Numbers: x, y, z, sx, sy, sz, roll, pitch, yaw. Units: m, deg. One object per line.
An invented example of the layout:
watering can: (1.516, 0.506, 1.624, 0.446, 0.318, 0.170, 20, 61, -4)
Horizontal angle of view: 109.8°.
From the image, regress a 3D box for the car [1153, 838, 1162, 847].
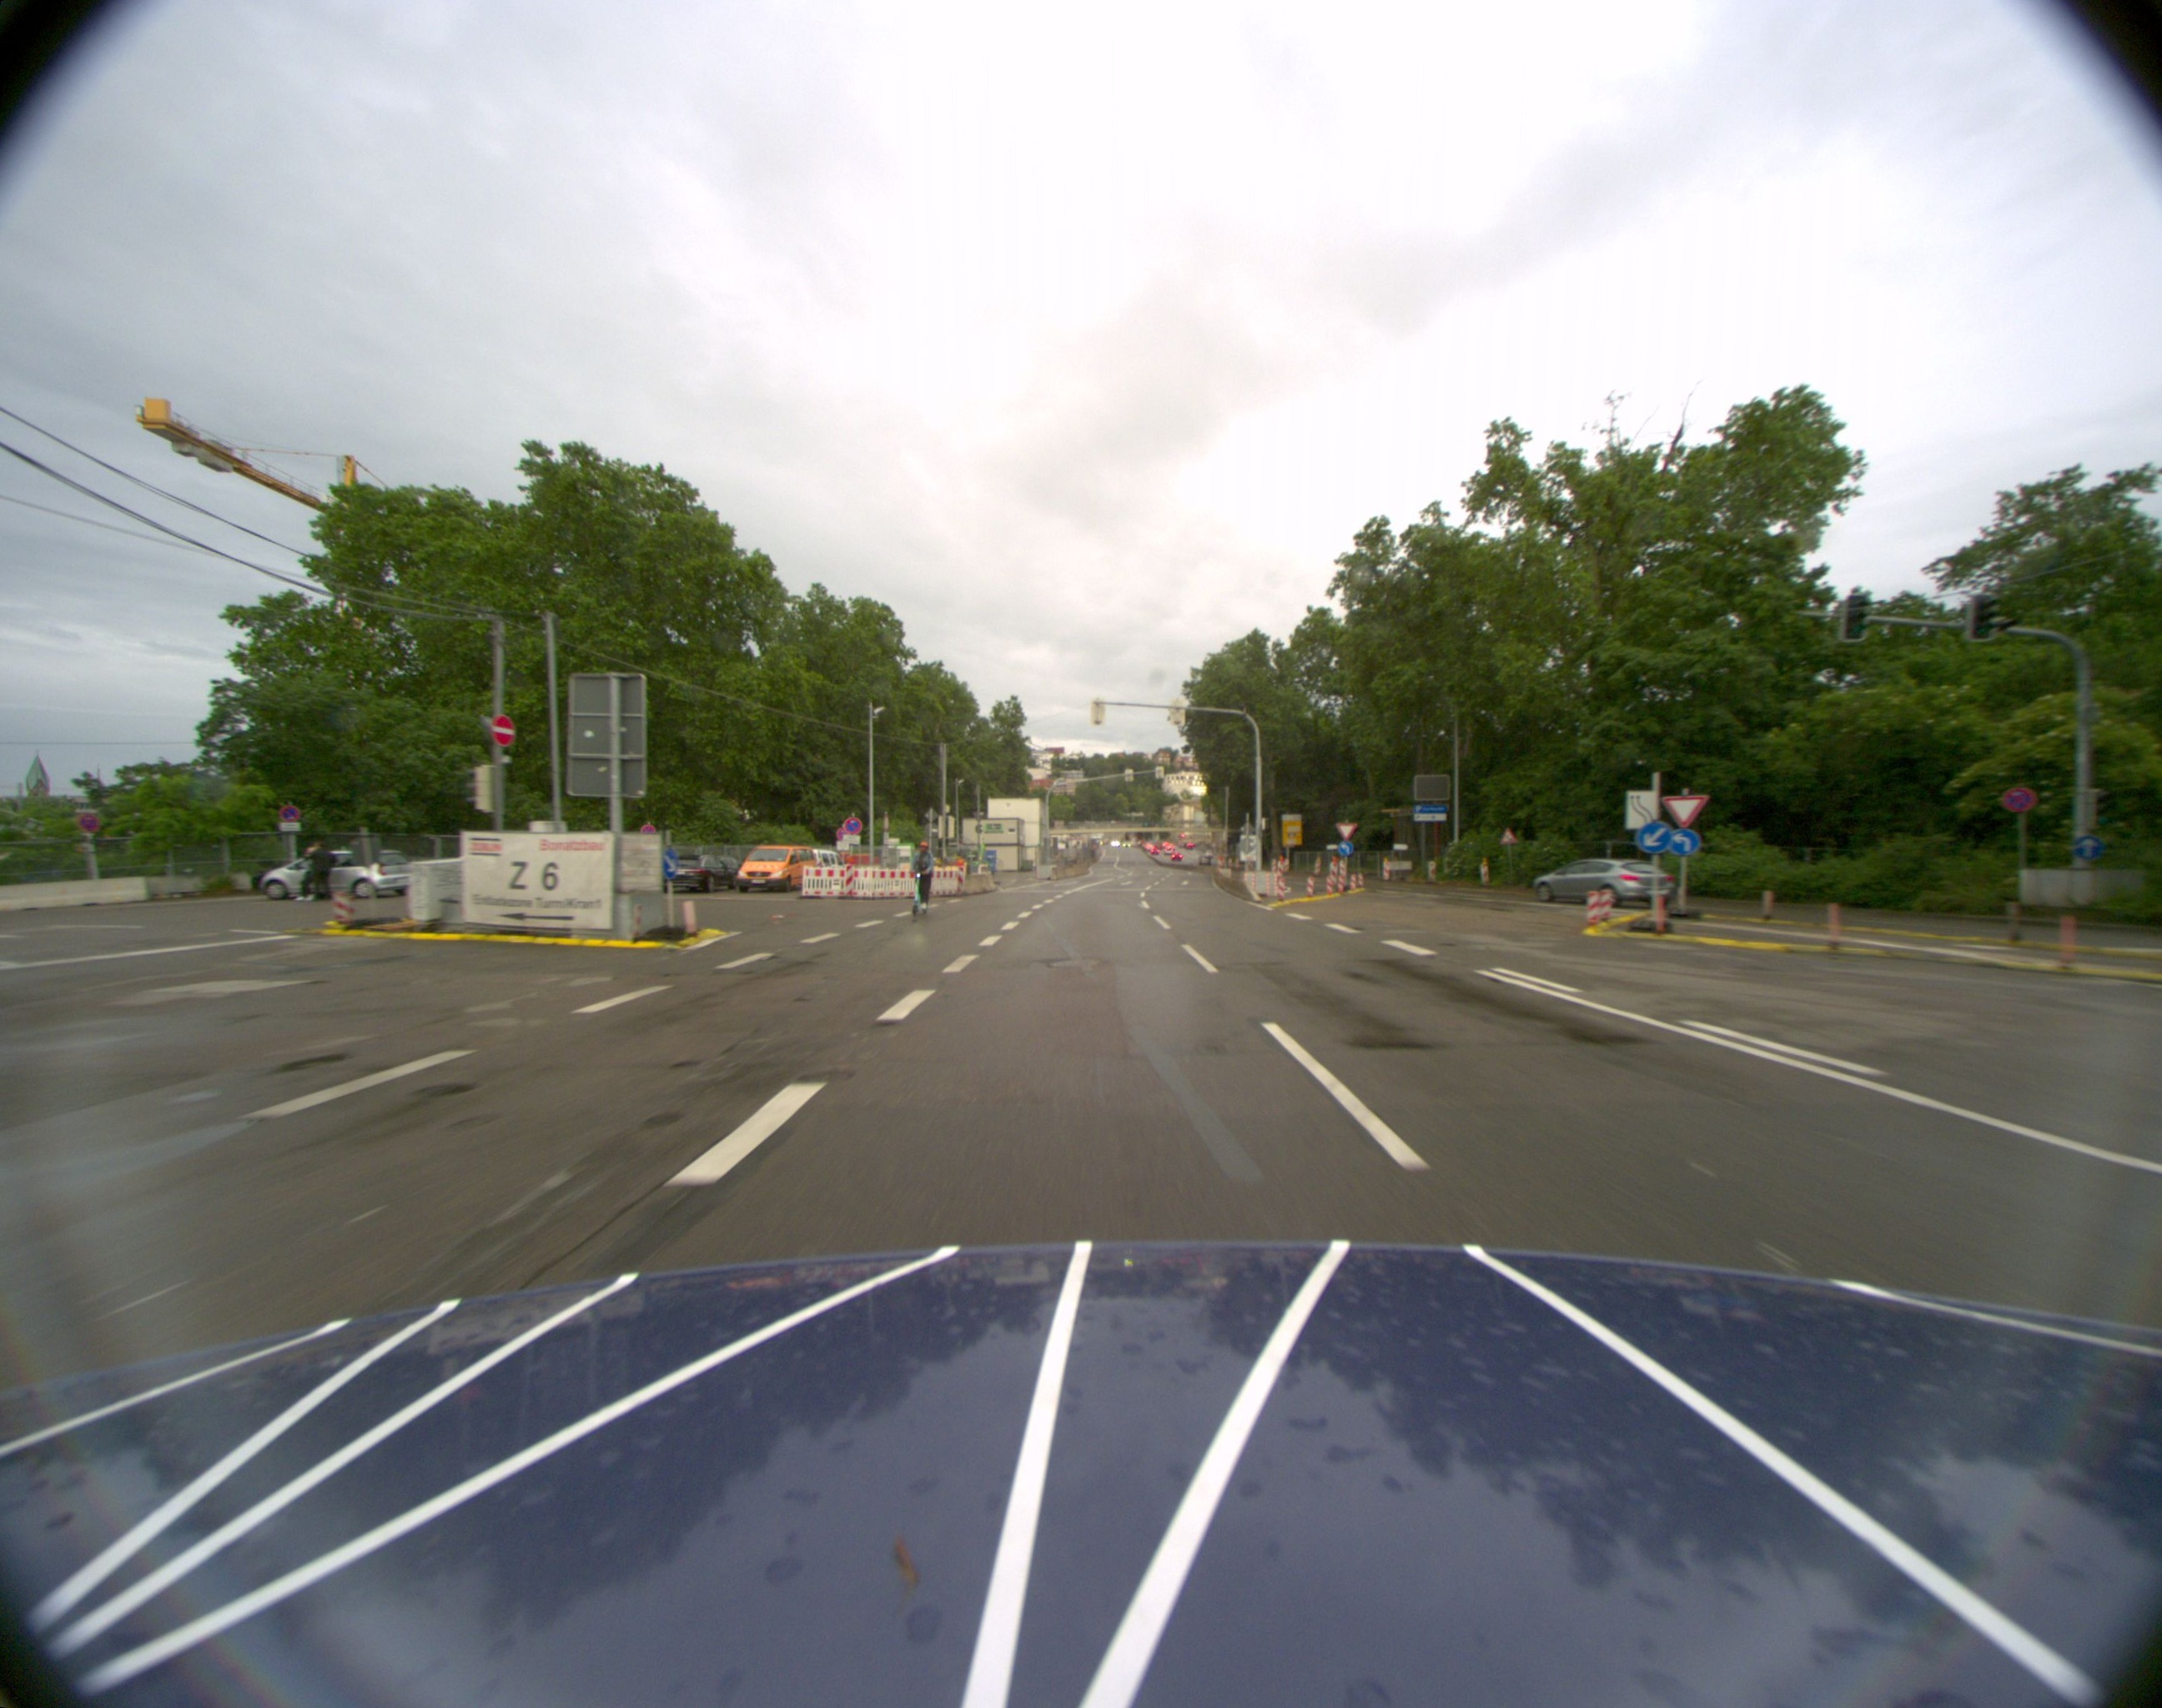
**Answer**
car: (17.874, -2.717, 177.751, 1.998, 2.002, 4.000, -2, 1, 2)

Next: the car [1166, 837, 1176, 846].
car: (20.926, -2.817, 176.251, 1.998, 2.002, 4.000, -2, 1, 2)

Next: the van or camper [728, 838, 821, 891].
van or camper: (-12.606, 0.389, 31.645, 2.123, 2.017, 5.010, 0, 0, -4)

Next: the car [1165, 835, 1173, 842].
car: (24.991, -4.409, 215.381, 1.998, 2.002, 4.000, -2, 1, 2)

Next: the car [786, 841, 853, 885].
car: (-12.812, 0.393, 37.502, 1.999, 2.054, 4.189, 0, 0, -2)

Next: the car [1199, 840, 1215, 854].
car: (19.205, -1.071, 115.857, 1.998, 2.002, 4.001, -2, 1, 5)

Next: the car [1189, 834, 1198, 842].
car: (31.587, -4.477, 213.857, 1.998, 2.002, 4.000, -2, 1, 2)

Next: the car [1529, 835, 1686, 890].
car: (16.440, 0.283, 24.017, 1.663, 1.533, 4.155, -2, -1, -9)

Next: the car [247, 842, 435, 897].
car: (-22.924, 0.455, 23.679, 3.729, 1.627, 1.999, 0, 0, -7)

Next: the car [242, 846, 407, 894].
car: (-26.977, 0.546, 27.238, 3.729, 1.627, 1.999, 0, 0, -7)

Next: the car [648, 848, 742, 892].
car: (-15.241, 0.576, 30.264, 2.000, 1.627, 4.187, 0, 0, -7)

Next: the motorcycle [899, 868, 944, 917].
motorcycle: (-4.321, 1.022, 20.746, 0.730, 1.221, 2.161, 0, 0, 1)

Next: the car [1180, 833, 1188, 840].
car: (30.710, -5.140, 226.988, 1.998, 2.002, 4.000, -2, 1, 2)

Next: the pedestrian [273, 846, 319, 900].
pedestrian: (-23.100, 0.559, 22.367, 0.652, 1.565, 0.662, 0, 1, -7)

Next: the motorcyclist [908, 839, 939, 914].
motorcyclist: (-4.320, 0.616, 20.870, 0.726, 2.024, 0.587, 0, 1, 1)

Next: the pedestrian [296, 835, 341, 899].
pedestrian: (-22.422, 0.386, 22.350, 0.652, 1.860, 0.662, 0, 1, -7)

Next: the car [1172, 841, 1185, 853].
car: (17.597, -1.250, 137.402, 1.998, 2.002, 4.000, -2, 1, 2)
